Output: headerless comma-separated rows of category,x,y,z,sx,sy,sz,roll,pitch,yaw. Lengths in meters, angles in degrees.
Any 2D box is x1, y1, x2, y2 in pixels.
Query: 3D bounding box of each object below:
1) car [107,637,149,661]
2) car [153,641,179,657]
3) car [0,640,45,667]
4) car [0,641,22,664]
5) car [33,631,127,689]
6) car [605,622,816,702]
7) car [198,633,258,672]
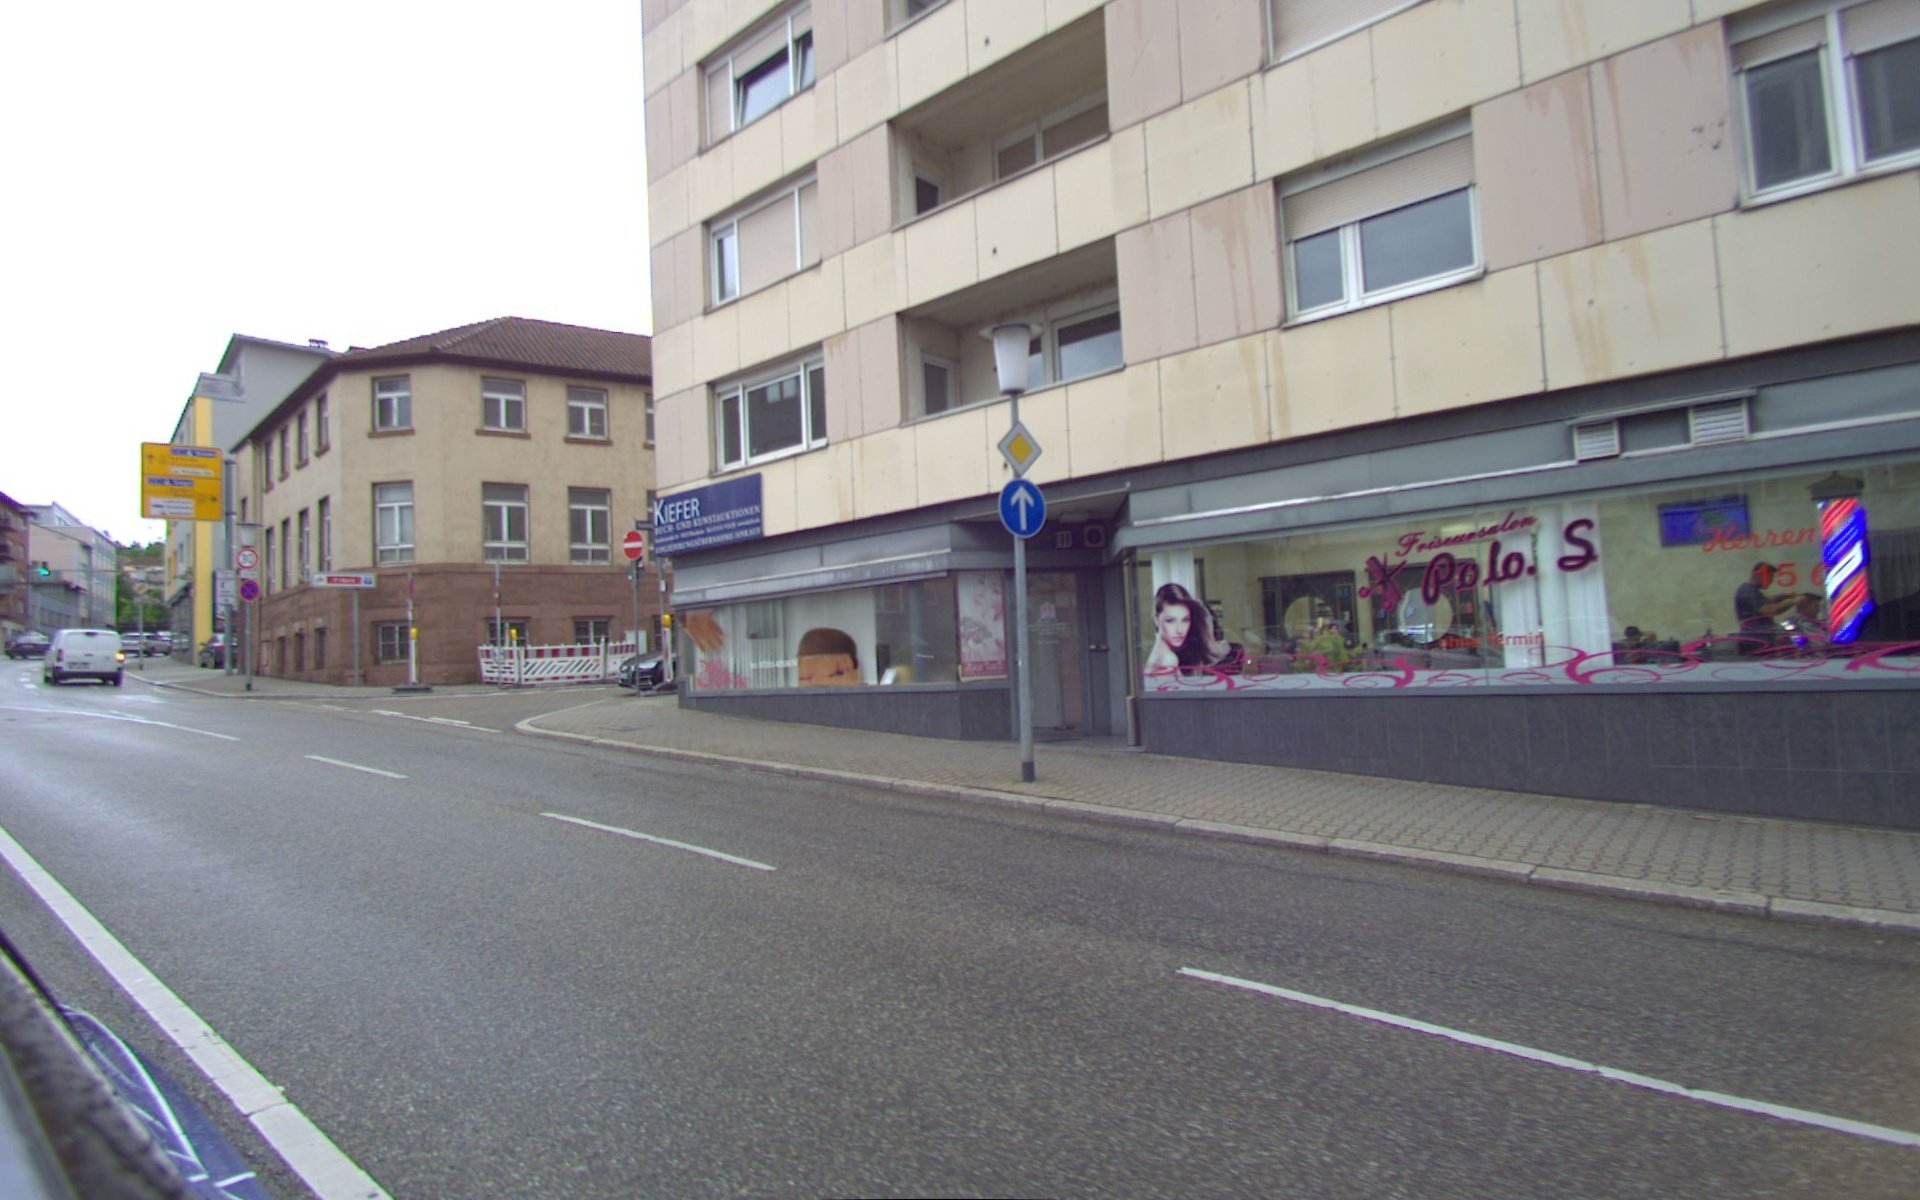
car,-53.405,3.145,64.939,1.835,1.465,4.324,4,-5,-41
car,-74.767,4.603,95.328,1.833,1.465,4.328,1,-2,-37
car,-53.833,3.047,58.116,1.835,1.465,4.324,1,-3,-41
car,-62.572,3.410,65.879,1.833,1.465,4.327,1,-2,-38
car,-29.319,1.946,33.691,4.265,1.817,1.841,-2,-3,42
car,-5.594,1.346,22.958,4.296,1.515,1.757,-1,-1,-39
car,-31.717,2.247,43.825,1.834,1.465,3.969,-3,0,-39
